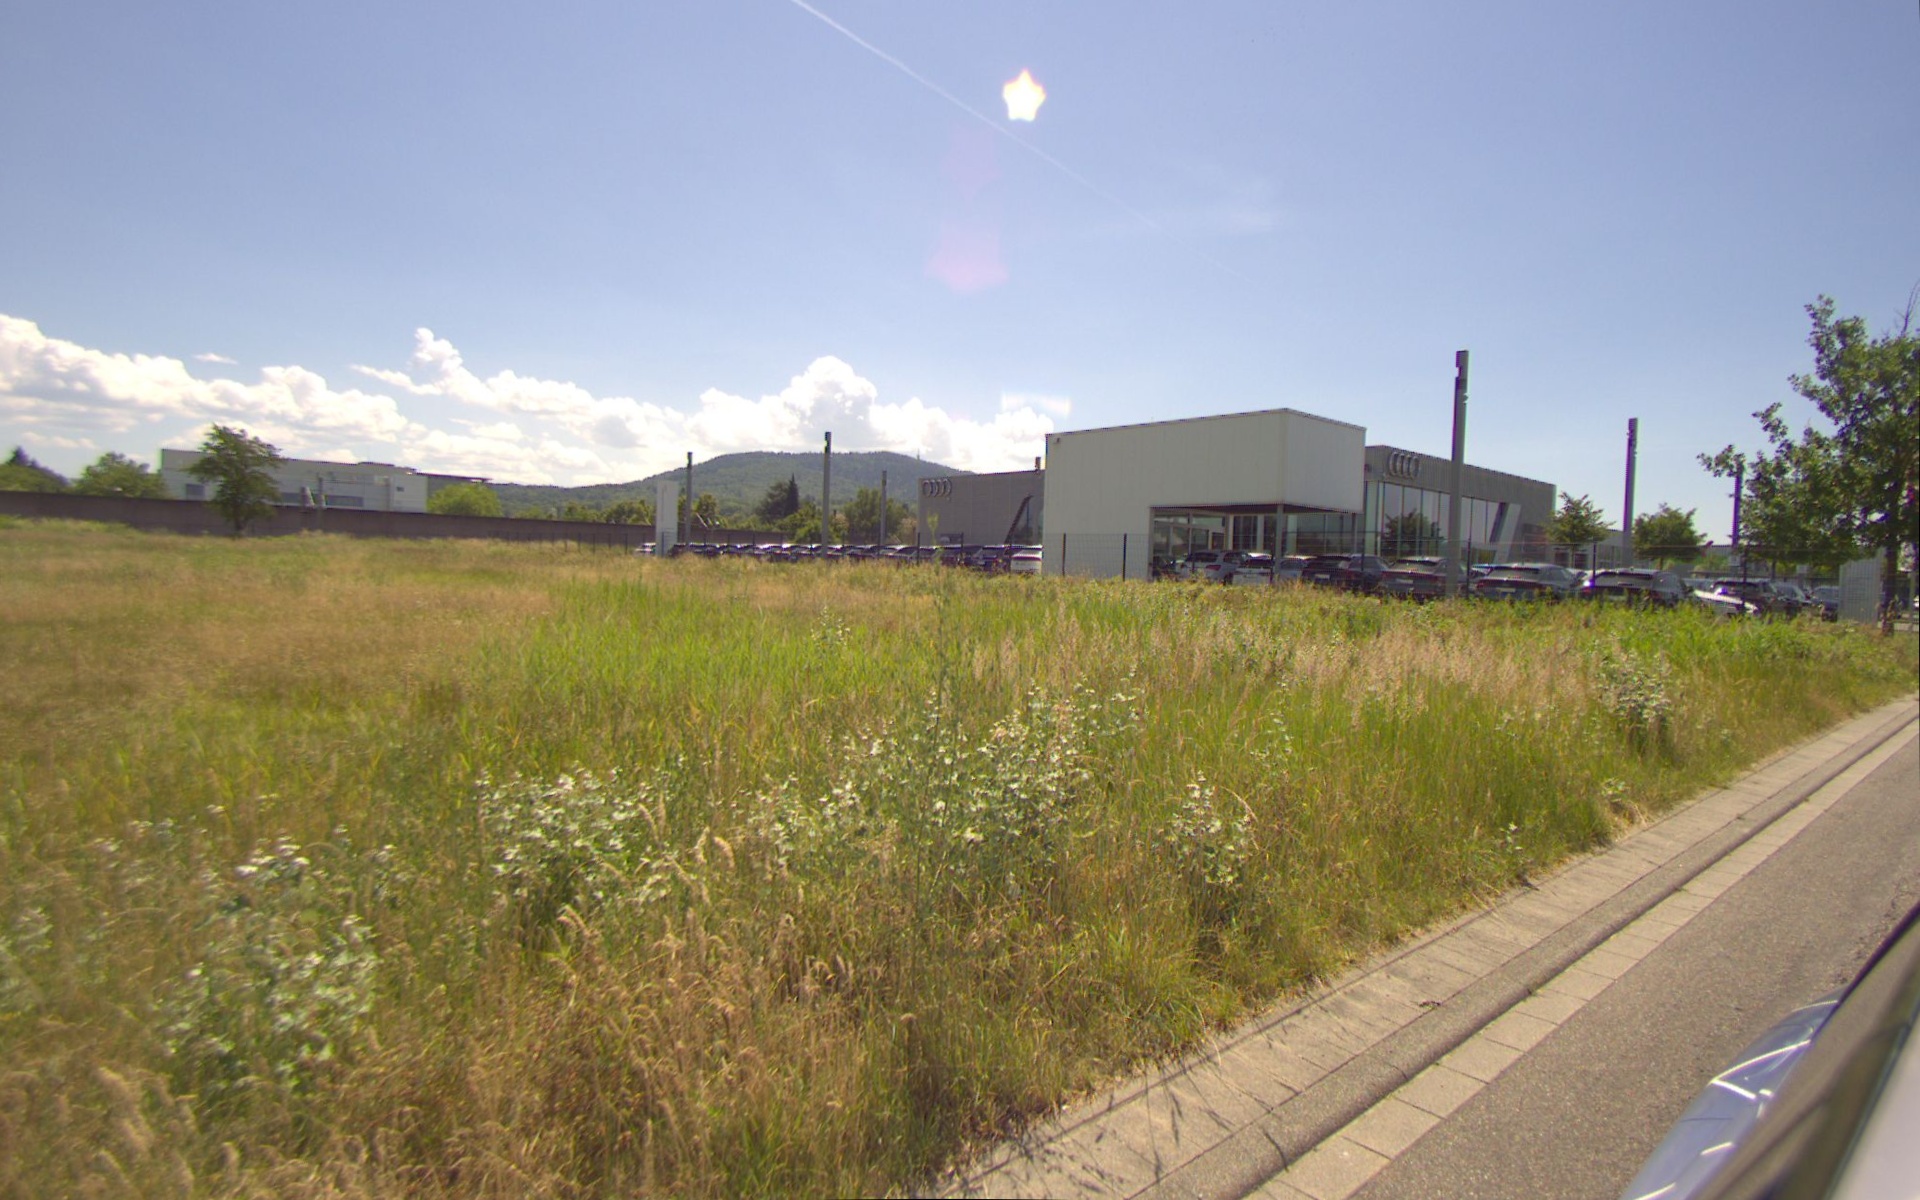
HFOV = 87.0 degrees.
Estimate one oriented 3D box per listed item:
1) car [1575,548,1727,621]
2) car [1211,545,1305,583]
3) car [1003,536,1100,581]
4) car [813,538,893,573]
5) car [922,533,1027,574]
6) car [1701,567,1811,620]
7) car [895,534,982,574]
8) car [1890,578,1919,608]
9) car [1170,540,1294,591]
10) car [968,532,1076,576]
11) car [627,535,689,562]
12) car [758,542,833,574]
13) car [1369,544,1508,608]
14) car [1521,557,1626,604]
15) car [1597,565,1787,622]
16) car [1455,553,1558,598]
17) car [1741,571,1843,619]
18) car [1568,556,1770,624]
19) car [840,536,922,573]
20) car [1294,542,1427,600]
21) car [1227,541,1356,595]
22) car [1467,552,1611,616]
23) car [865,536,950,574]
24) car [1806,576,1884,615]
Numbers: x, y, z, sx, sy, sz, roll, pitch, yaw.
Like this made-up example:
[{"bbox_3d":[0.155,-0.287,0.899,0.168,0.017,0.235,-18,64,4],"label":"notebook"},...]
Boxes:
[{"bbox_3d":[18.733,-0.418,27.337,5.017,1.713,2.030,0,4,-40],"label":"car"},{"bbox_3d":[14.213,-1.718,48.144,4.695,1.609,2.029,0,4,-41],"label":"car"},{"bbox_3d":[3.974,-1.789,43.722,3.931,1.806,1.997,0,3,-42],"label":"car"},{"bbox_3d":[-5.849,-2.434,55.633,3.931,1.806,1.997,0,3,-42],"label":"car"},{"bbox_3d":[0.725,-2.190,47.868,4.723,1.746,2.030,0,4,-40],"label":"car"},{"bbox_3d":[27.182,-0.234,34.489,4.695,1.592,2.029,0,4,-41],"label":"car"},{"bbox_3d":[-1.029,-2.238,49.732,3.931,1.806,1.997,0,3,-42],"label":"car"},{"bbox_3d":[54.188,-0.361,57.205,4.155,1.589,1.891,0,6,-43],"label":"car"},{"bbox_3d":[10.137,-1.260,37.532,4.723,1.674,2.030,0,4,-40],"label":"car"},{"bbox_3d":[2.843,-2.064,45.912,4.723,1.746,2.030,0,4,-40],"label":"car"},{"bbox_3d":[-22.329,-3.800,74.937,3.931,1.806,1.997,0,3,-42],"label":"car"},{"bbox_3d":[-9.805,-2.511,60.394,3.931,1.806,1.997,0,3,-42],"label":"car"},{"bbox_3d":[14.825,-0.728,31.253,4.723,1.746,2.030,0,4,-40],"label":"car"},{"bbox_3d":[23.457,-0.729,38.649,4.695,1.609,2.029,0,4,-41],"label":"car"},{"bbox_3d":[23.212,-0.246,32.220,1.996,1.475,4.538,0,4,-41],"label":"car"},{"bbox_3d":[21.820,-0.967,40.366,4.695,1.609,2.029,0,4,-41],"label":"car"},{"bbox_3d":[31.256,-0.210,37.945,5.148,1.532,2.030,0,6,-41],"label":"car"},{"bbox_3d":[21.269,-0.346,30.522,1.994,1.713,4.542,0,4,-38],"label":"car"},{"bbox_3d":[-4.169,-2.388,53.583,3.931,1.806,1.997,0,3,-42],"label":"car"},{"bbox_3d":[13.261,-0.942,33.397,4.723,1.699,2.030,0,4,-40],"label":"car"},{"bbox_3d":[11.646,-1.106,35.443,4.723,1.674,2.030,0,4,-40],"label":"car"},{"bbox_3d":[16.743,-0.467,29.173,4.723,1.630,2.030,0,4,-40],"label":"car"},{"bbox_3d":[-2.657,-2.296,51.760,3.931,1.806,1.997,0,3,-42],"label":"car"},{"bbox_3d":[39.778,-0.254,45.462,4.901,1.474,1.966,-2,6,-41],"label":"car"}]
